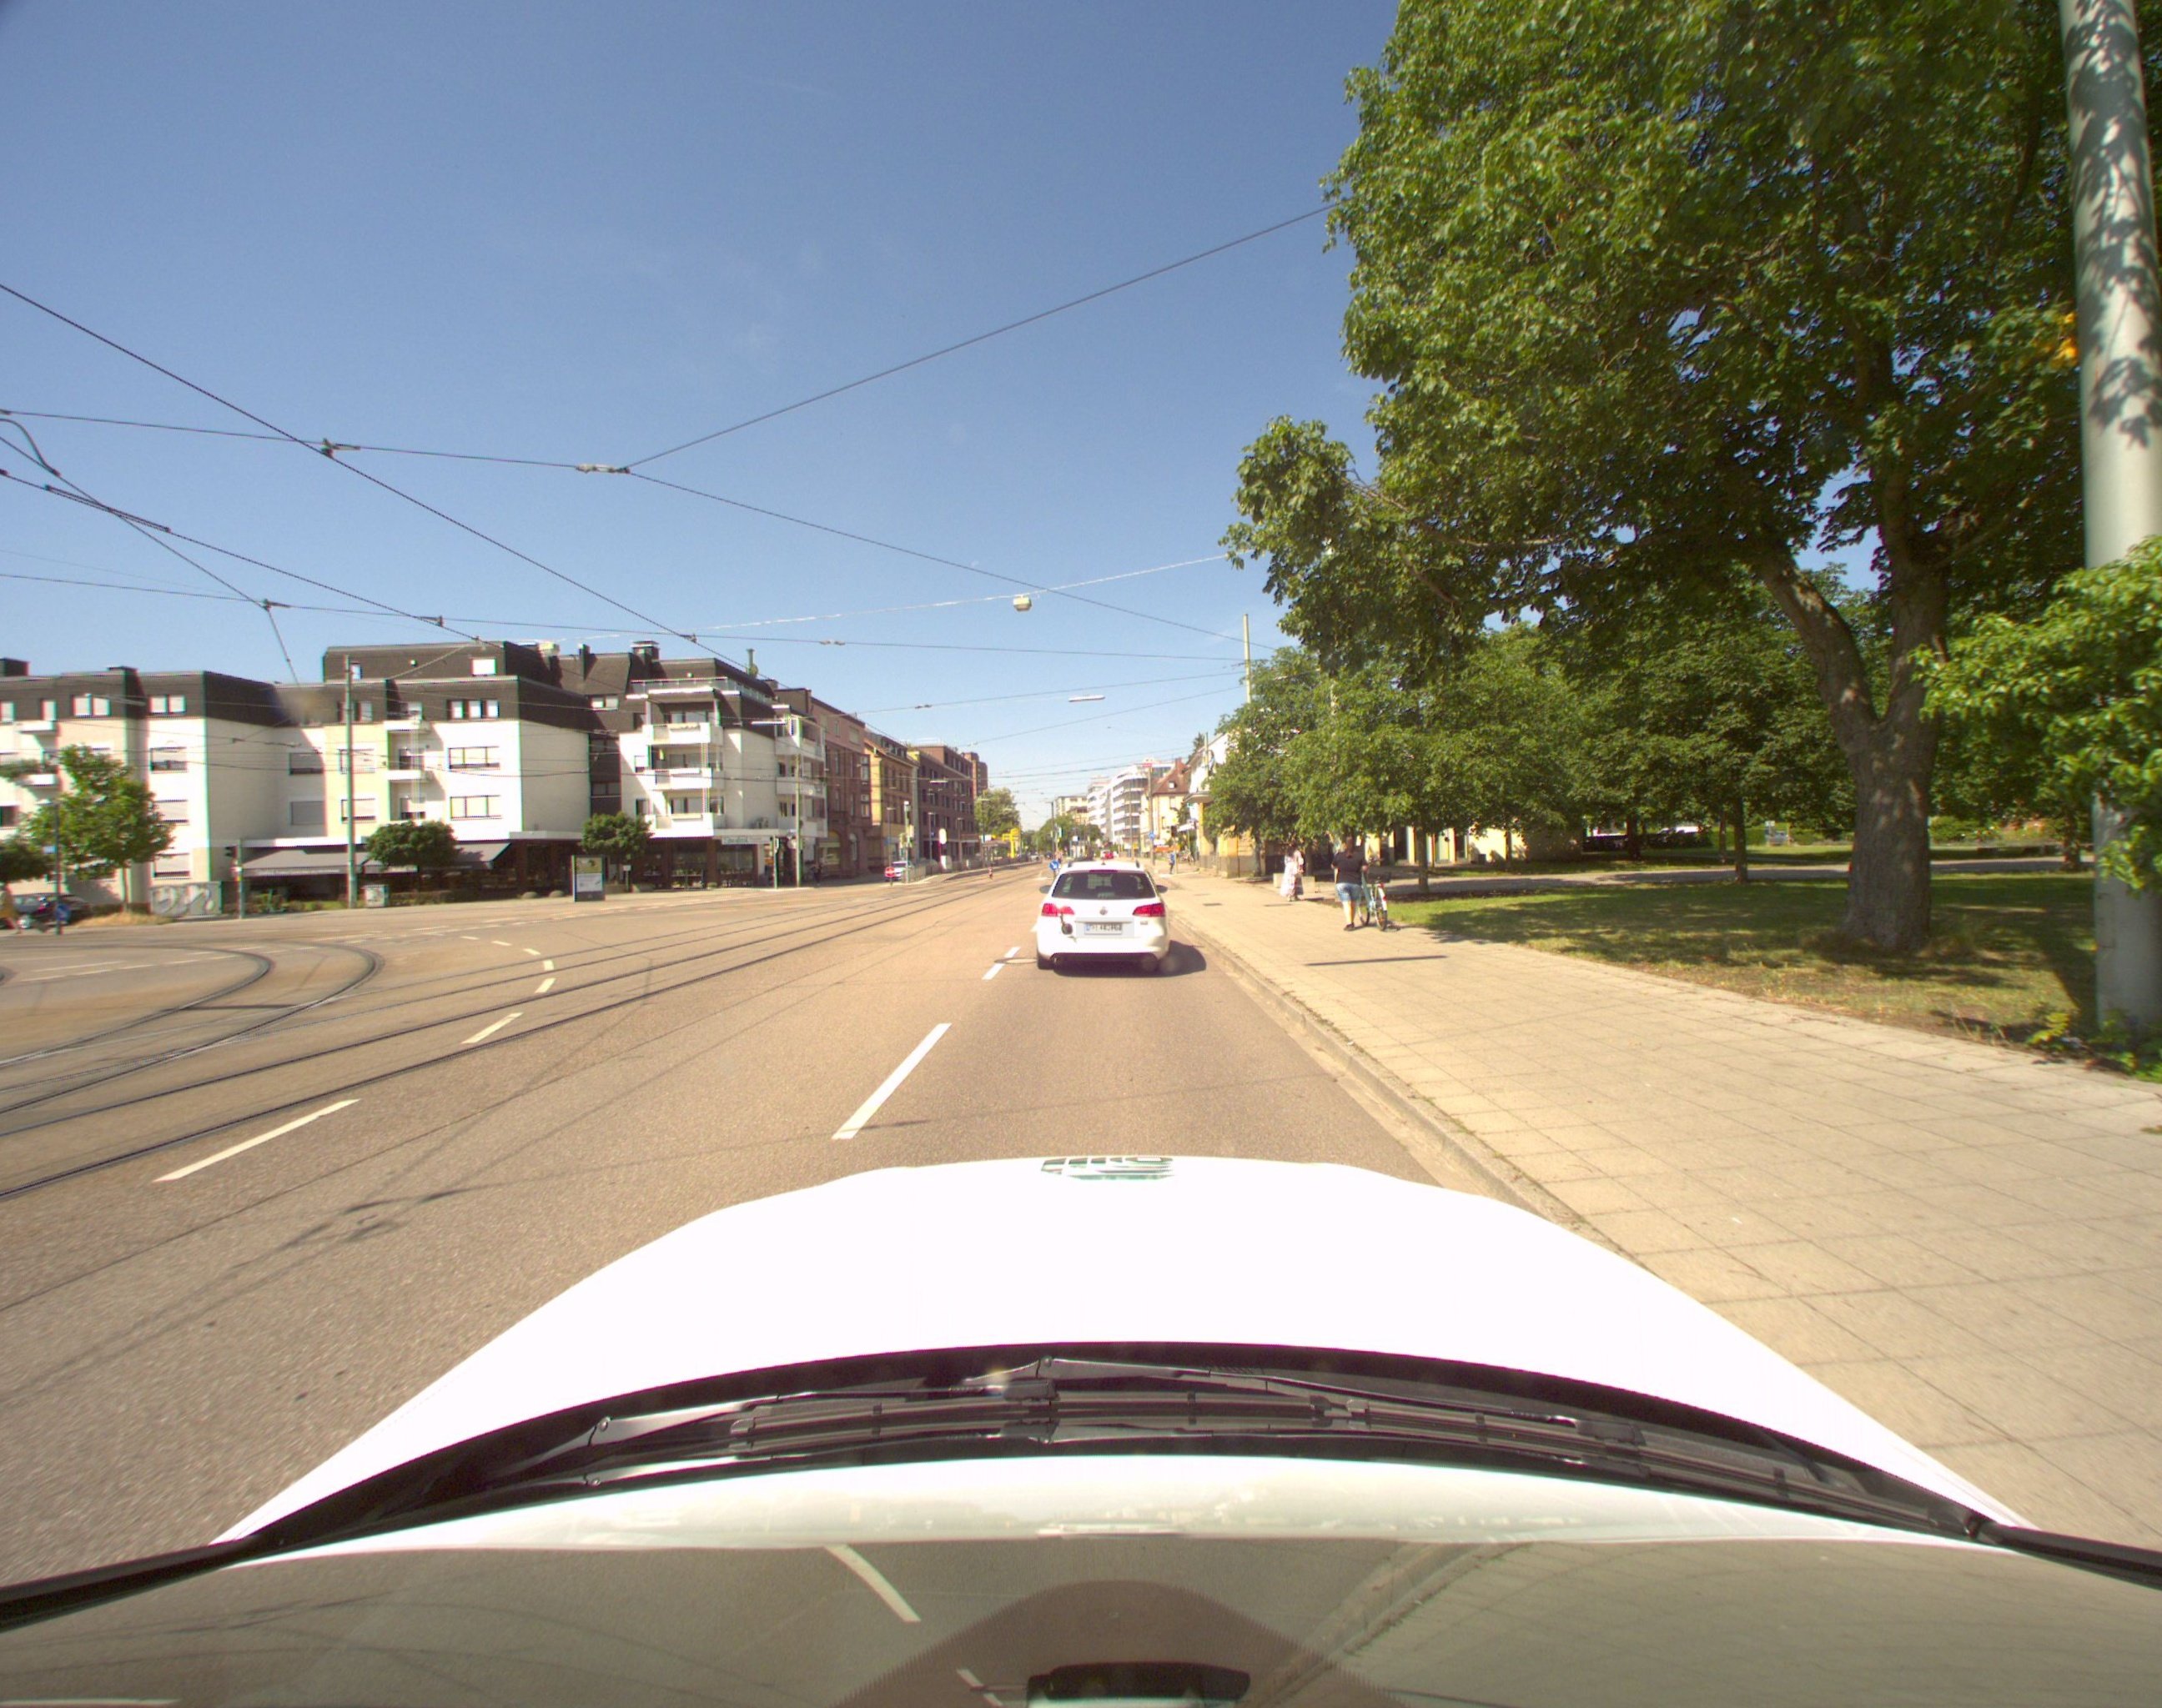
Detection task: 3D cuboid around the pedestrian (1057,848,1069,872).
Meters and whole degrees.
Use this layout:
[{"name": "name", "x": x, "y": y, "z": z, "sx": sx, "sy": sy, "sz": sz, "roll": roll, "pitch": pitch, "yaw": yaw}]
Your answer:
[{"name": "pedestrian", "x": -1.406, "y": 0.436, "z": 62.860, "sx": 0.823, "sy": 1.809, "sz": 0.834, "roll": -2, "pitch": 0, "yaw": 2}]

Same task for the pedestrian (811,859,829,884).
[{"name": "pedestrian", "x": -18.141, "y": 1.216, "z": 56.561, "sx": 0.870, "sy": 1.647, "sz": 0.684, "roll": -2, "pitch": 0, "yaw": 22}]

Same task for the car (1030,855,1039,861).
[{"name": "car", "x": -10.555, "y": 0.923, "z": 186.915, "sx": 1.661, "sy": 1.466, "sz": 3.775, "roll": -2, "pitch": 0, "yaw": 2}]

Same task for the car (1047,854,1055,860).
[{"name": "car", "x": -7.323, "y": 0.776, "z": 197.499, "sx": 1.661, "sy": 1.466, "sz": 3.775, "roll": -2, "pitch": 0, "yaw": 2}]

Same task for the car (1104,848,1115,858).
[{"name": "car", "x": 6.008, "y": -0.169, "z": 172.963, "sx": 1.989, "sy": 2.013, "sz": 3.996, "roll": -2, "pitch": 0, "yaw": -2}]

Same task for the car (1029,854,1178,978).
[{"name": "car", "x": 0.354, "y": 0.757, "z": 11.813, "sx": 1.746, "sy": 1.417, "sz": 3.855, "roll": -2, "pitch": 0, "yaw": 2}]

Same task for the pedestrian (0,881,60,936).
[{"name": "pedestrian", "x": -37.228, "y": 1.900, "z": 28.591, "sx": 1.446, "sy": 1.836, "sz": 1.110, "roll": -2, "pitch": 0, "yaw": -38}]

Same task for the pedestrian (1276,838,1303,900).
[{"name": "pedestrian", "x": 5.838, "y": 0.409, "z": 22.808, "sx": 0.645, "sy": 1.682, "sz": 0.710, "roll": -2, "pitch": 0, "yaw": 12}]

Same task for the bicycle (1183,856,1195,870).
[{"name": "bicycle", "x": 9.407, "y": 0.735, "z": 70.849, "sx": 0.720, "sy": 1.139, "sz": 2.203, "roll": -2, "pitch": 0, "yaw": 15}]

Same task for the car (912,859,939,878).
[{"name": "car", "x": -13.150, "y": 1.214, "z": 69.203, "sx": 1.568, "sy": 1.459, "sz": 3.812, "roll": -2, "pitch": 0, "yaw": -1}]

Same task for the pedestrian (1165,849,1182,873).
[{"name": "pedestrian", "x": 5.949, "y": 0.436, "z": 52.248, "sx": 0.855, "sy": 1.510, "sz": 0.779, "roll": -2, "pitch": 0, "yaw": -9}]

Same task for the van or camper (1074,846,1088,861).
[{"name": "van or camper", "x": 0.076, "y": -0.164, "z": 181.247, "sx": 2.933, "sy": 3.180, "sz": 6.614, "roll": -2, "pitch": 0, "yaw": 1}]

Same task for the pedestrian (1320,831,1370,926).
[{"name": "pedestrian", "x": 4.488, "y": 0.409, "z": 13.861, "sx": 0.538, "sy": 1.549, "sz": 0.663, "roll": -4, "pitch": 0, "yaw": 1}]

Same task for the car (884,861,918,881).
[{"name": "car", "x": -13.575, "y": 1.252, "z": 61.453, "sx": 1.620, "sy": 1.431, "sz": 3.963, "roll": -1, "pitch": 0, "yaw": 0}]

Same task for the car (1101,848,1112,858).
[{"name": "car", "x": 5.607, "y": -0.156, "z": 178.404, "sx": 1.989, "sy": 2.013, "sz": 3.996, "roll": -2, "pitch": 0, "yaw": -2}]

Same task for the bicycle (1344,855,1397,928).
[{"name": "bicycle", "x": 4.808, "y": 0.592, "z": 13.603, "sx": 0.532, "sy": 1.111, "sz": 1.812, "roll": -3, "pitch": -1, "yaw": 12}]

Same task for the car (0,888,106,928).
[{"name": "car", "x": -45.033, "y": 2.349, "z": 34.943, "sx": 4.158, "sy": 1.500, "sz": 1.829, "roll": -2, "pitch": 0, "yaw": 1}]
